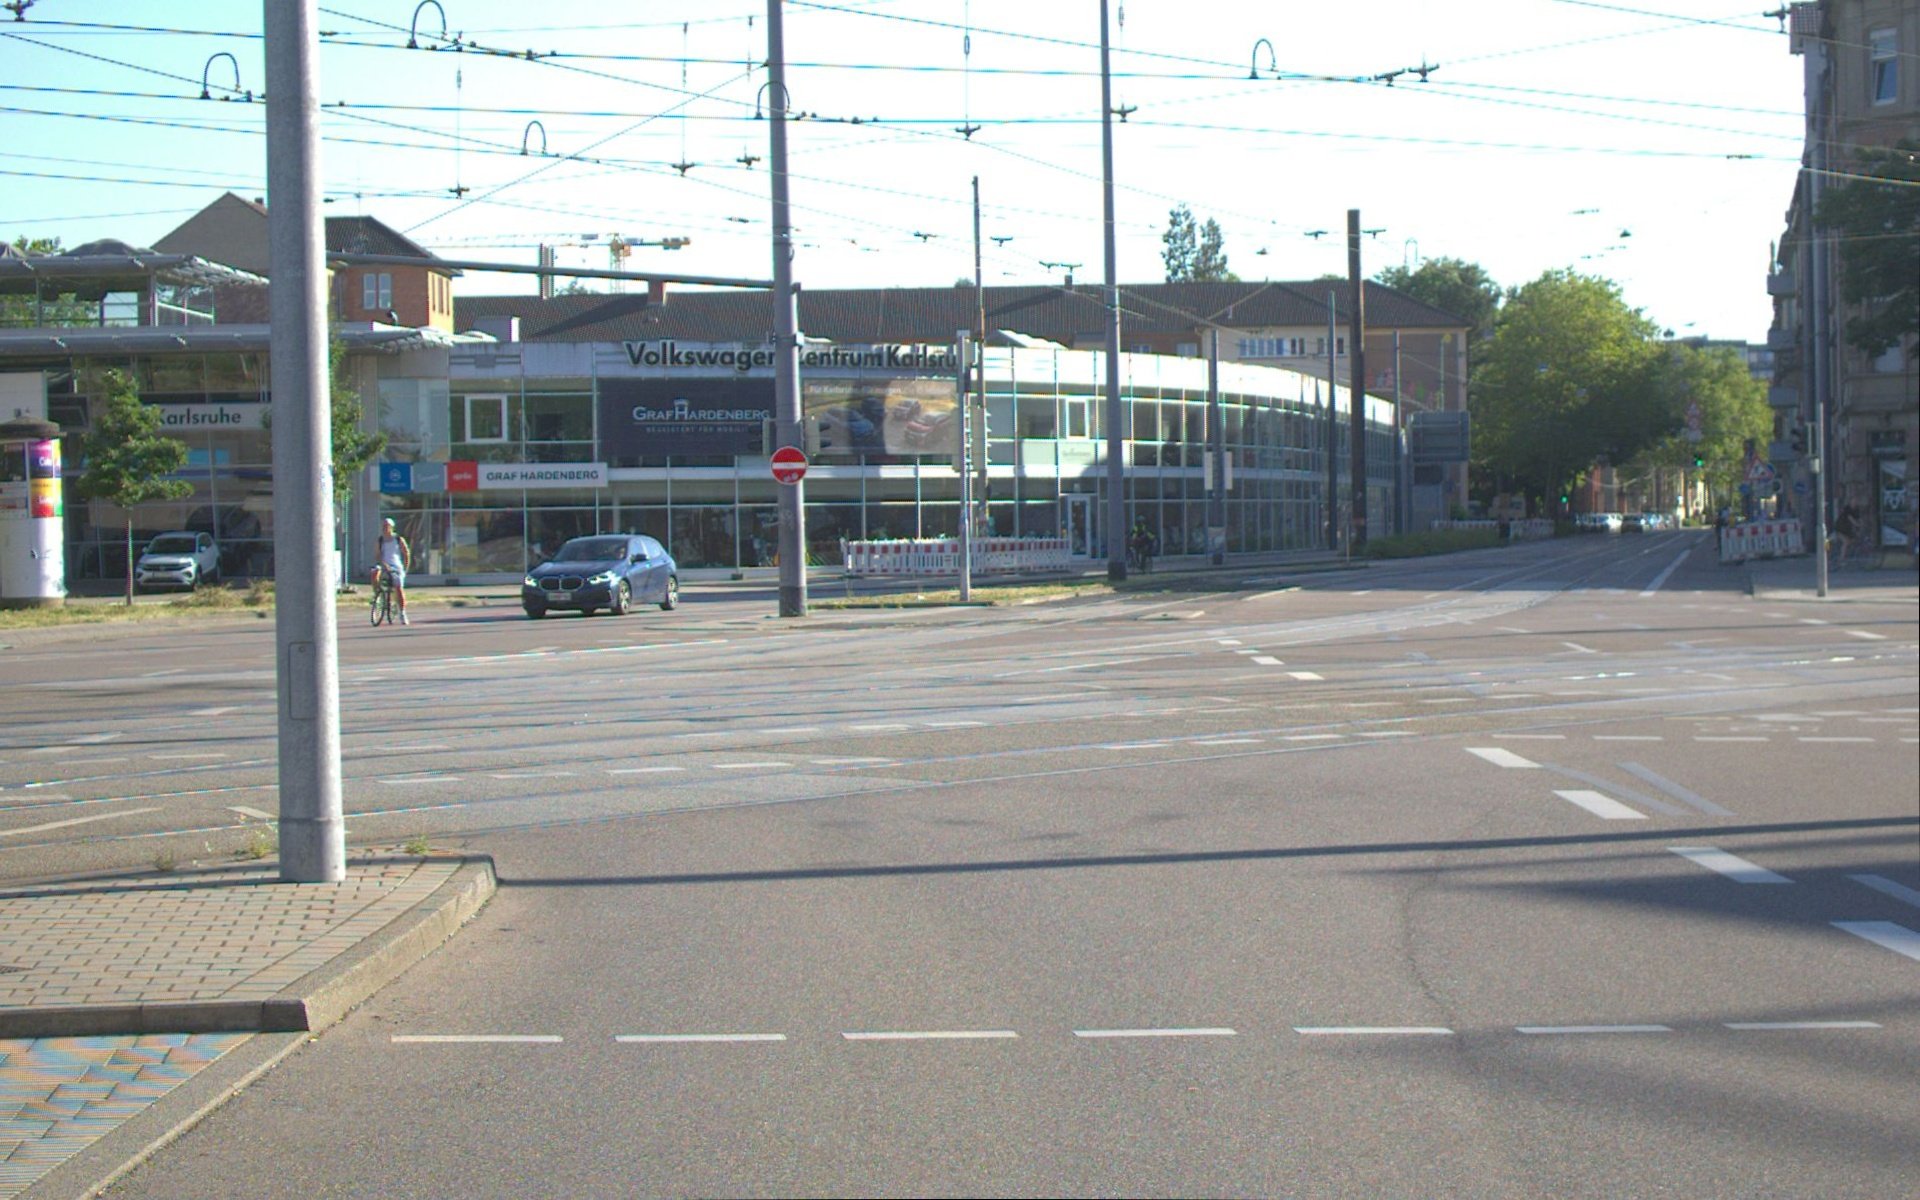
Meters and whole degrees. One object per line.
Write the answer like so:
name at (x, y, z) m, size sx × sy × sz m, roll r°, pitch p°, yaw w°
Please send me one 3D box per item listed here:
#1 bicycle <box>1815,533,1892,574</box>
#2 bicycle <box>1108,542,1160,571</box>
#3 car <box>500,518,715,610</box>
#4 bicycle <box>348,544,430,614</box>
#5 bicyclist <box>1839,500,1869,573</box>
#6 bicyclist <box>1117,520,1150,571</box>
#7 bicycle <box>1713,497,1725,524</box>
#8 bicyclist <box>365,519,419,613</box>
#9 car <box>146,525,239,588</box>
bicycle at (20.904, -1.085, 80.428) m, size 1.598 × 0.949 × 0.658 m, roll 1°, pitch 1°, yaw 33°
bicycle at (5.335, -1.318, 105.259) m, size 0.639 × 0.867 × 2.231 m, roll 1°, pitch 1°, yaw 29°
car at (-6.284, -0.636, 61.704) m, size 1.996 × 1.579 × 3.994 m, roll 1°, pitch 1°, yaw 27°
bicycle at (-9.904, -0.367, 59.702) m, size 0.613 × 1.185 × 1.867 m, roll 1°, pitch 1°, yaw 17°
bicyclist at (20.910, -1.494, 80.429) m, size 0.515 × 1.695 × 0.519 m, roll 1°, pitch 0°, yaw 33°
bicyclist at (5.320, -1.669, 105.225) m, size 0.655 × 1.567 × 0.921 m, roll 1°, pitch 0°, yaw 29°
bicycle at (28.017, -3.299, 126.942) m, size 0.410 × 0.938 × 1.844 m, roll 1°, pitch 1°, yaw 12°
bicyclist at (-9.876, -0.589, 59.788) m, size 0.598 × 1.610 × 0.822 m, roll 1°, pitch 0°, yaw 17°
car at (-22.136, -1.251, 99.286) m, size 1.993 × 1.744 × 4.001 m, roll 1°, pitch 1°, yaw -4°
